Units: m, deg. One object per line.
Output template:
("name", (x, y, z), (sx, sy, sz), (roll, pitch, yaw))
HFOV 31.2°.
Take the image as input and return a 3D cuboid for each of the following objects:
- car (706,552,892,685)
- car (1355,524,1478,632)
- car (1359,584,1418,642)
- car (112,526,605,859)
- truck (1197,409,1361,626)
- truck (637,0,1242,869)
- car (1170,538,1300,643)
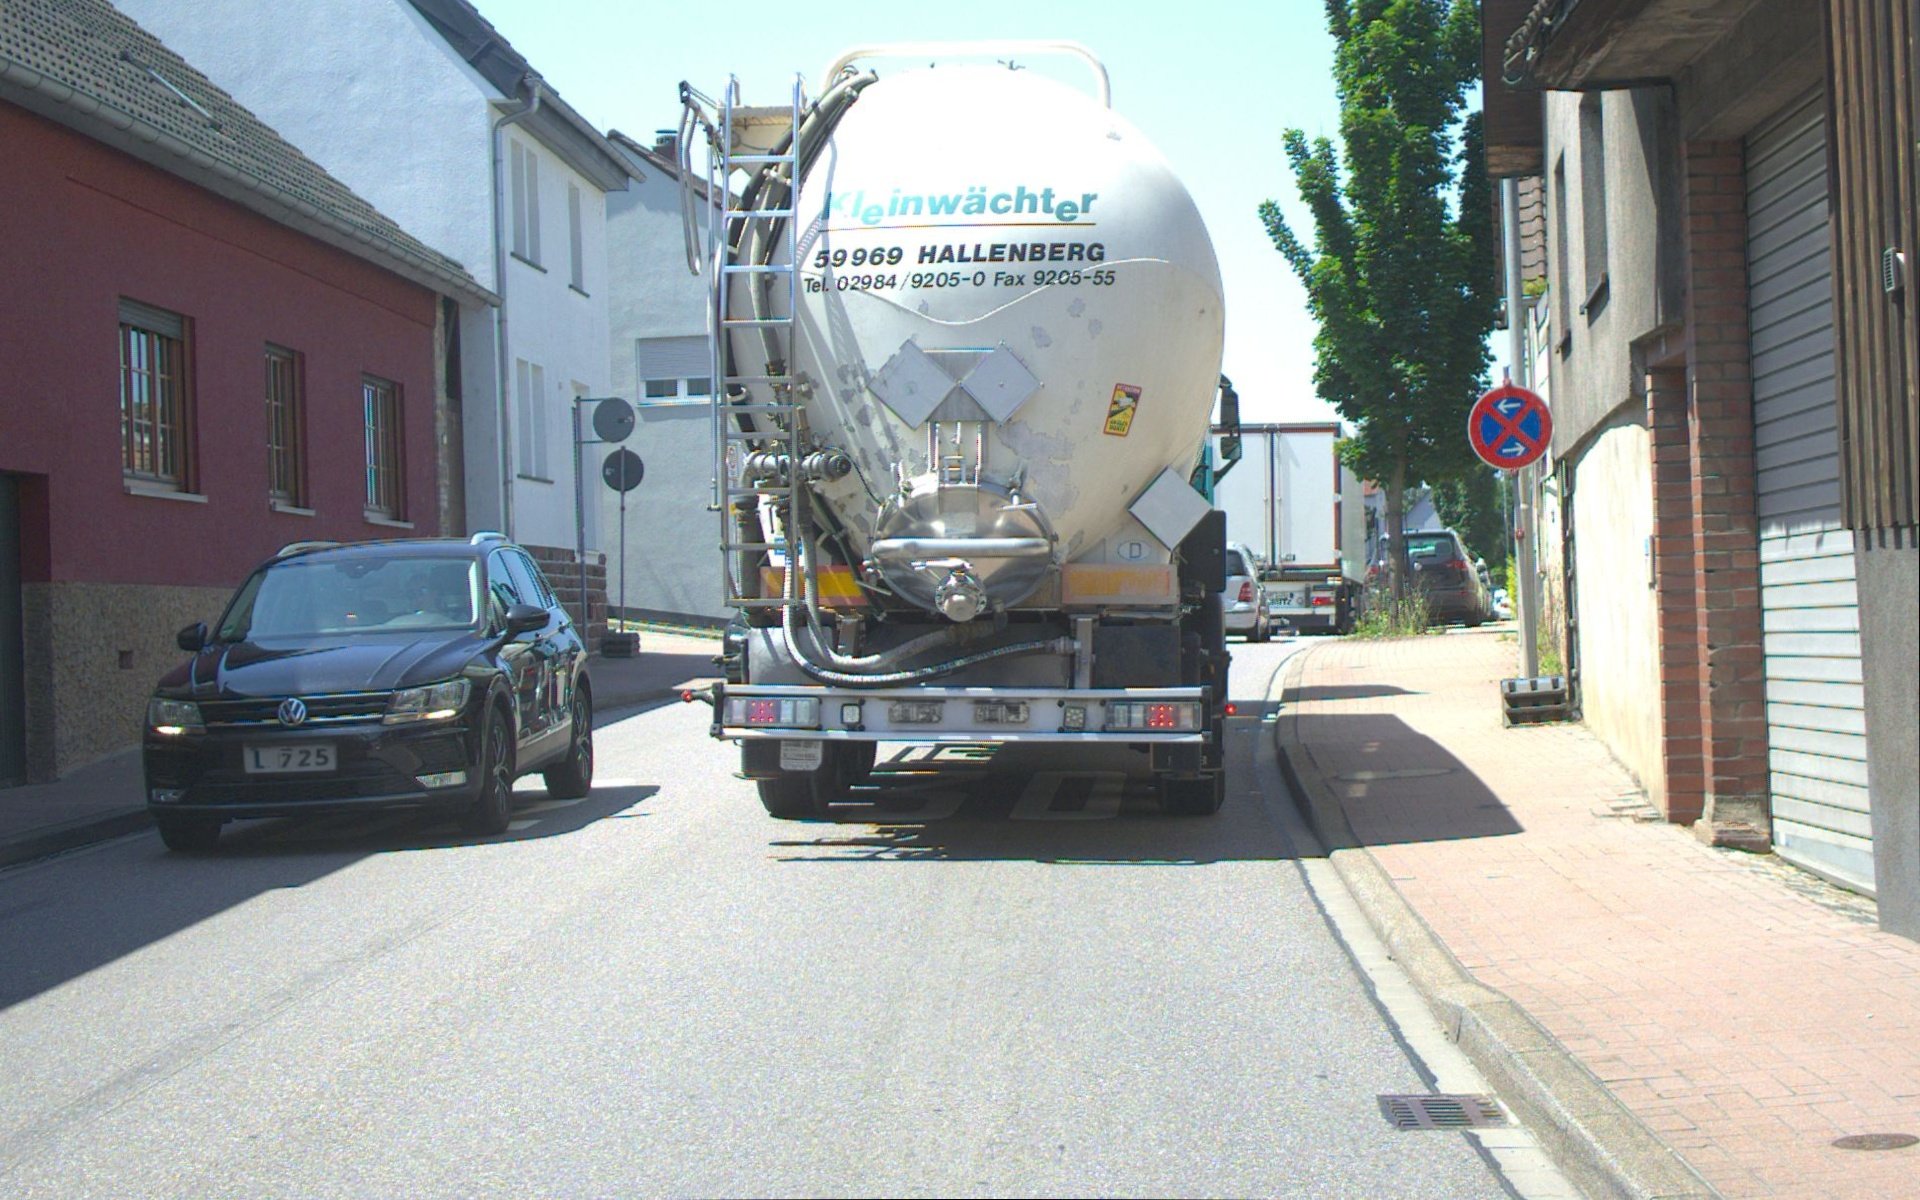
("car", (-1.802, 0.174, 39.634), (1.695, 1.405, 4.200), (-2, 1, 3))
("car", (7.574, -0.358, 56.725), (1.803, 1.608, 4.546), (-3, 0, 9))
("car", (15.172, 0.474, 121.591), (1.946, 1.964, 4.783), (-2, -1, 7))
("car", (-3.255, 0.436, 19.480), (1.811, 1.603, 4.337), (-2, 1, 2))
("truck", (6.554, -1.645, 69.414), (2.964, 4.055, 9.281), (0, 1, 7))
("truck", (0.227, -0.831, 19.724), (2.733, 3.946, 8.141), (0, 1, 5))
("car", (4.295, -0.112, 53.234), (1.701, 1.442, 4.835), (-4, -1, 7))
